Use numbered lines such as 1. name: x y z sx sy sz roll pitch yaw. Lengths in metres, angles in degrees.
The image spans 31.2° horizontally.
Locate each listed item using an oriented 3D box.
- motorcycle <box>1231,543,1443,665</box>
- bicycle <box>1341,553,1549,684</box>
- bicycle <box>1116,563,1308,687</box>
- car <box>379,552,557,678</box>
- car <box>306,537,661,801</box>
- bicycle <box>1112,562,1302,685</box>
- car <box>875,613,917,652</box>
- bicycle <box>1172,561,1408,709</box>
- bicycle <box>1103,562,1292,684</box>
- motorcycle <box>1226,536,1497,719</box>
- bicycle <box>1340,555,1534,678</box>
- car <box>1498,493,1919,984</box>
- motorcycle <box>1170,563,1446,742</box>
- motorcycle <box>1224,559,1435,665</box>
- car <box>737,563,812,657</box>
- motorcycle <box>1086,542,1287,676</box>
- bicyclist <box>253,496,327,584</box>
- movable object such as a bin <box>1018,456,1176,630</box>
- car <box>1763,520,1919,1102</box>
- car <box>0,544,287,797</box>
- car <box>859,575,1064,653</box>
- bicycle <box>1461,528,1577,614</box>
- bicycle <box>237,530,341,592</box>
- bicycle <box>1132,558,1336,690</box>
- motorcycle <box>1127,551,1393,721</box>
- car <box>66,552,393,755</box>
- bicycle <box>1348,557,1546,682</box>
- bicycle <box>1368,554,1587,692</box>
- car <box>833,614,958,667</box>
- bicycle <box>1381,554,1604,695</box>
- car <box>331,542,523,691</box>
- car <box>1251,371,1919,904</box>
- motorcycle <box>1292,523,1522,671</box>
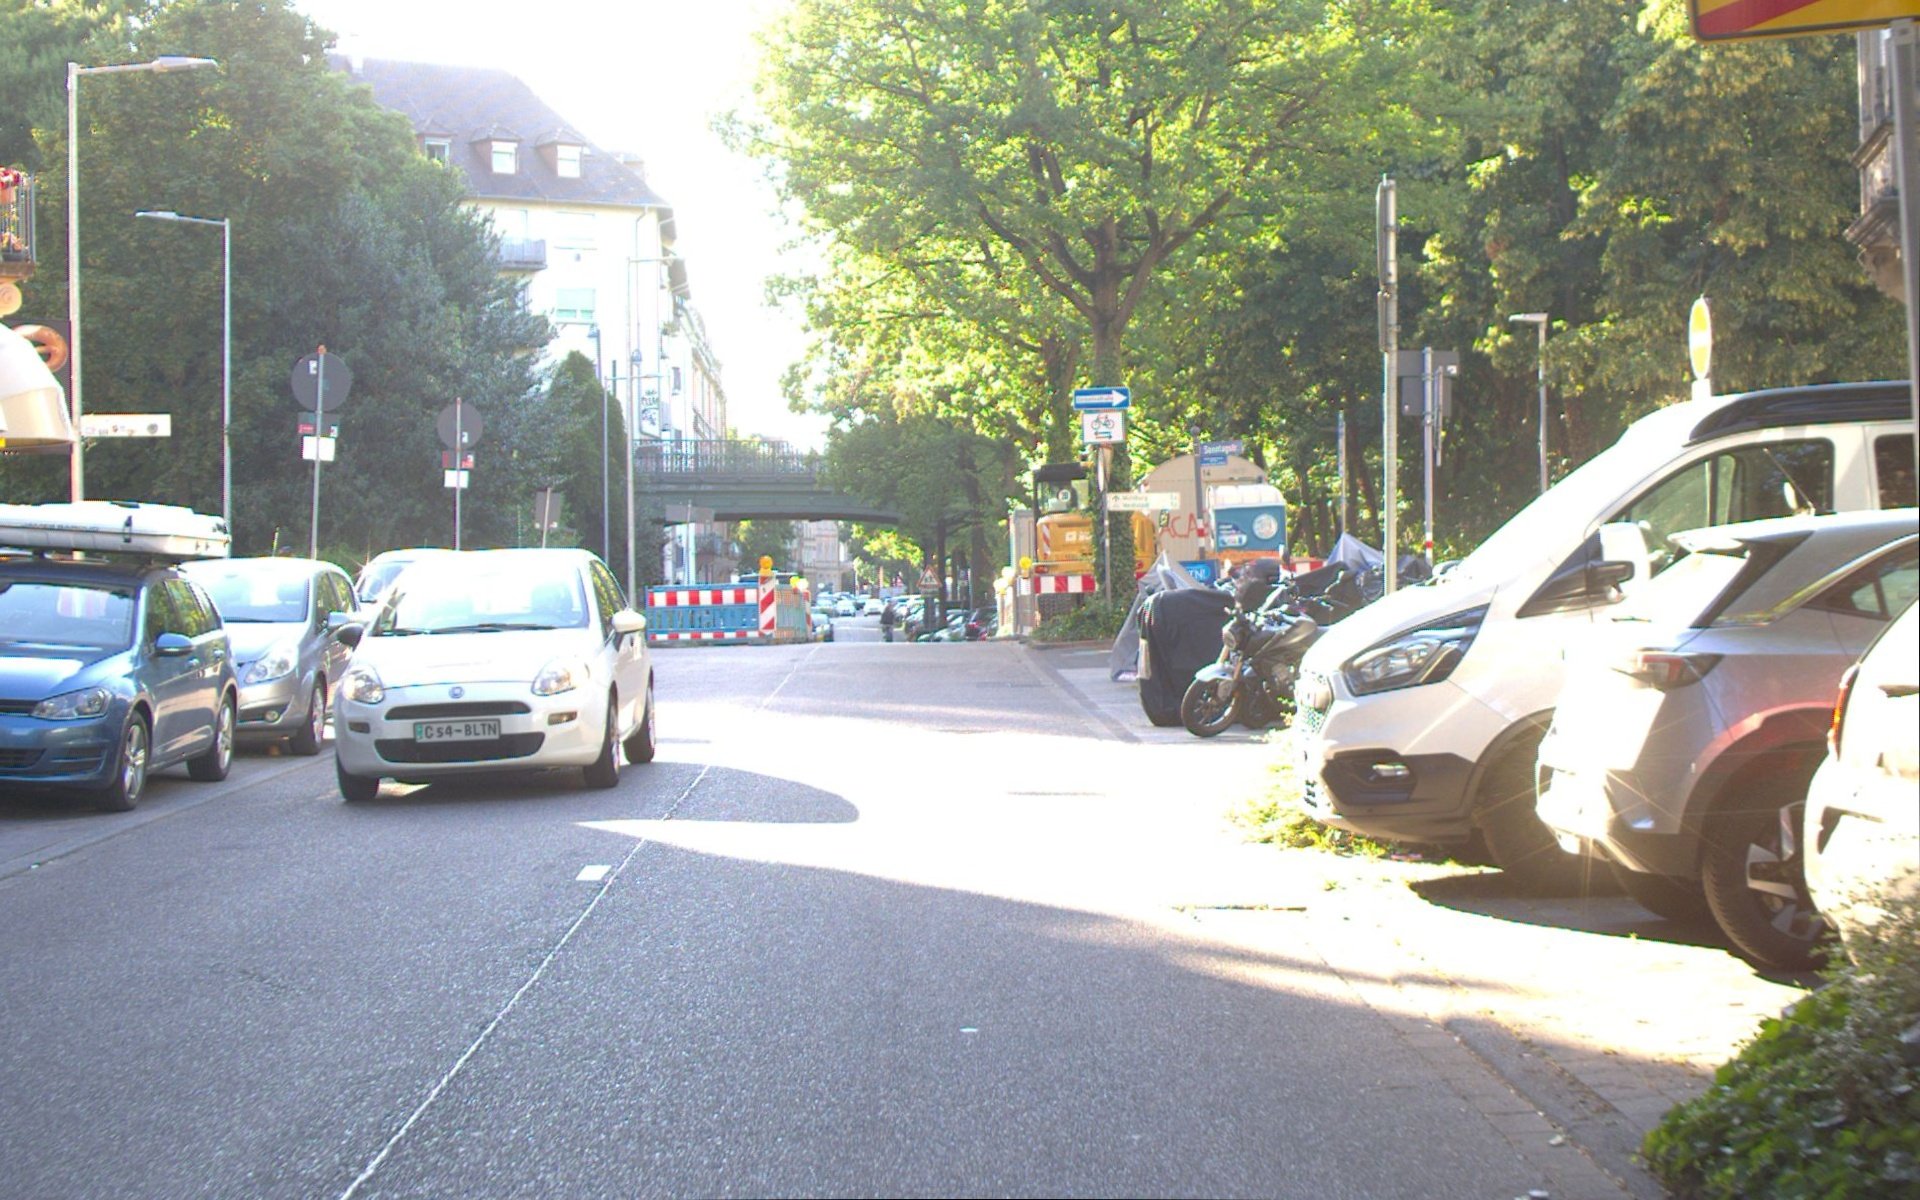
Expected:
1. motorcycle: 4.192 0.047 38.189 2.284 1.337 0.656 0 0 11
2. bicycle: 4.668 0.170 33.137 1.924 1.242 0.480 0 1 -6
3. bicycle: 2.574 0.251 35.066 1.924 1.242 0.303 0 1 -6
4. car: -5.938 0.155 41.891 1.669 1.453 4.000 0 1 -1
5. car: -2.937 0.365 21.932 1.749 1.504 4.000 -1 1 -1
6. bicycle: 2.540 0.239 35.386 1.924 1.242 0.303 0 1 -6
7. car: -2.789 1.427 150.293 1.775 1.604 4.402 -1 0 -1
8. bicycle: 2.842 0.295 29.690 1.924 1.242 0.648 0 1 -6
9. bicycle: 2.469 0.237 35.762 1.924 1.242 0.303 0 1 -6
10. motorcycle: 3.169 0.209 27.256 2.023 1.357 0.694 -2 1 0
11. bicycle: 4.920 0.162 35.488 1.924 1.242 0.452 0 1 -6
12. car: 3.973 0.418 12.139 3.840 1.590 1.741 -1 1 -1
13. motorcycle: 2.655 0.391 26.327 2.014 1.322 0.621 -1 1 -4
14. motorcycle: 4.208 0.136 39.063 2.284 1.176 0.970 0 0 12
15. car: -5.265 0.315 97.411 2.047 2.489 5.697 1 -2 -3
16. motorcycle: 2.426 0.085 36.881 1.935 1.408 0.939 0 1 27
17. bicyclist: -10.703 -0.957 54.893 0.803 1.378 0.985 0 1 -36
18. movable object such as a bin: 2.220 -0.893 55.109 1.994 2.690 3.108 0 0 12
19. car: 4.392 0.506 9.597 3.840 1.510 1.848 -1 1 -1
20. car: -5.520 0.376 21.891 1.764 1.432 4.301 -1 1 -2
21. car: 0.006 0.326 76.307 4.386 1.601 1.917 1 -2 -5
22. bicycle: 8.725 -0.463 53.746 1.023 1.281 2.148 -2 1 -13
23. bicycle: -10.734 -0.626 54.940 0.803 0.965 2.108 0 1 -36
24. bicycle: 2.635 0.228 33.096 1.924 1.242 0.303 0 1 -6
25. motorcycle: 2.448 0.283 28.231 2.023 1.280 0.904 -3 1 -2
26. car: -5.666 0.364 27.108 1.725 1.432 3.996 1 1 0
27. bicycle: 4.953 0.194 34.993 1.924 1.242 0.480 0 1 -6
28. bicycle: 4.745 0.202 31.536 1.924 1.242 0.480 0 1 -6
29. car: -2.306 1.457 122.929 4.387 1.779 1.917 1 -2 -3
30. bicycle: 4.800 0.212 31.028 1.924 1.242 0.480 0 1 -6
31. car: -5.751 0.145 37.440 1.669 1.525 4.001 0 1 -3
32. car: 3.851 0.113 14.785 4.973 2.089 2.106 -1 1 -1
33. motorcycle: 4.705 -0.033 36.266 2.282 1.526 0.756 0 0 -6
